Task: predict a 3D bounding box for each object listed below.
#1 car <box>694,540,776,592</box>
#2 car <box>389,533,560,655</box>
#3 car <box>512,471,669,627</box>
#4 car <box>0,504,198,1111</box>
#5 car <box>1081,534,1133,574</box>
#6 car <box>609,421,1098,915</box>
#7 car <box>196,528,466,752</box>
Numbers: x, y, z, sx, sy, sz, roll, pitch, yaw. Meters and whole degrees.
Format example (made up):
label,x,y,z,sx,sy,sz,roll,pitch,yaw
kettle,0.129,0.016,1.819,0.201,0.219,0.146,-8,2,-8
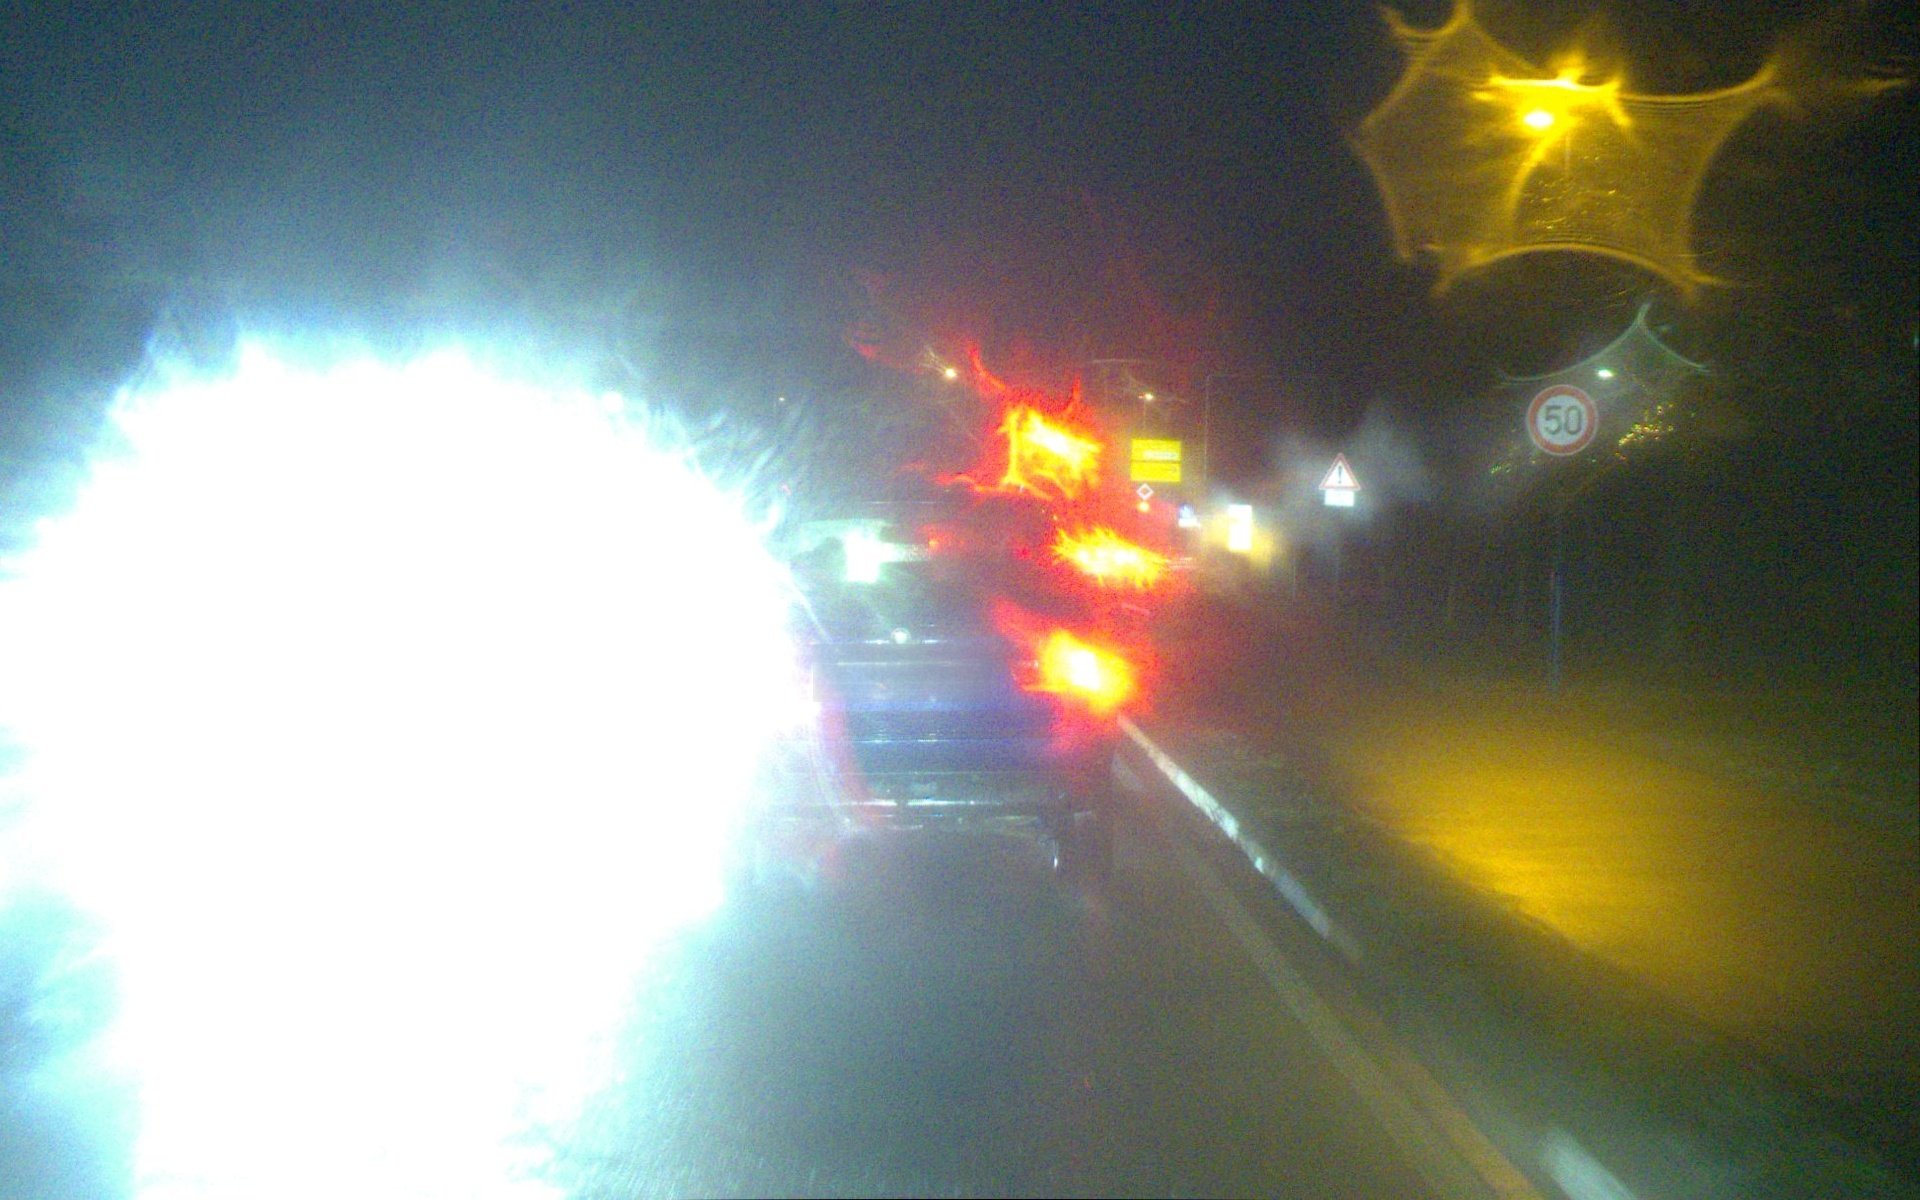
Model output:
label,x,y,z,sx,sy,sz,roll,pitch,yaw
car,-6.426,-0.991,98.710,2.077,1.444,4.992,1,1,-1
car,-6.626,-0.120,47.286,1.720,1.583,4.312,1,1,0
car,-6.707,-0.940,63.062,2.122,2.698,6.241,1,1,1
car,-3.405,0.530,9.051,1.844,1.569,4.597,0,1,-1
car,5.415,-1.677,126.572,1.663,1.445,4.049,0,0,6
car,-0.473,0.233,15.910,1.942,1.965,4.218,1,1,-1
car,-4.912,0.255,27.344,1.804,1.624,4.417,0,1,-6
